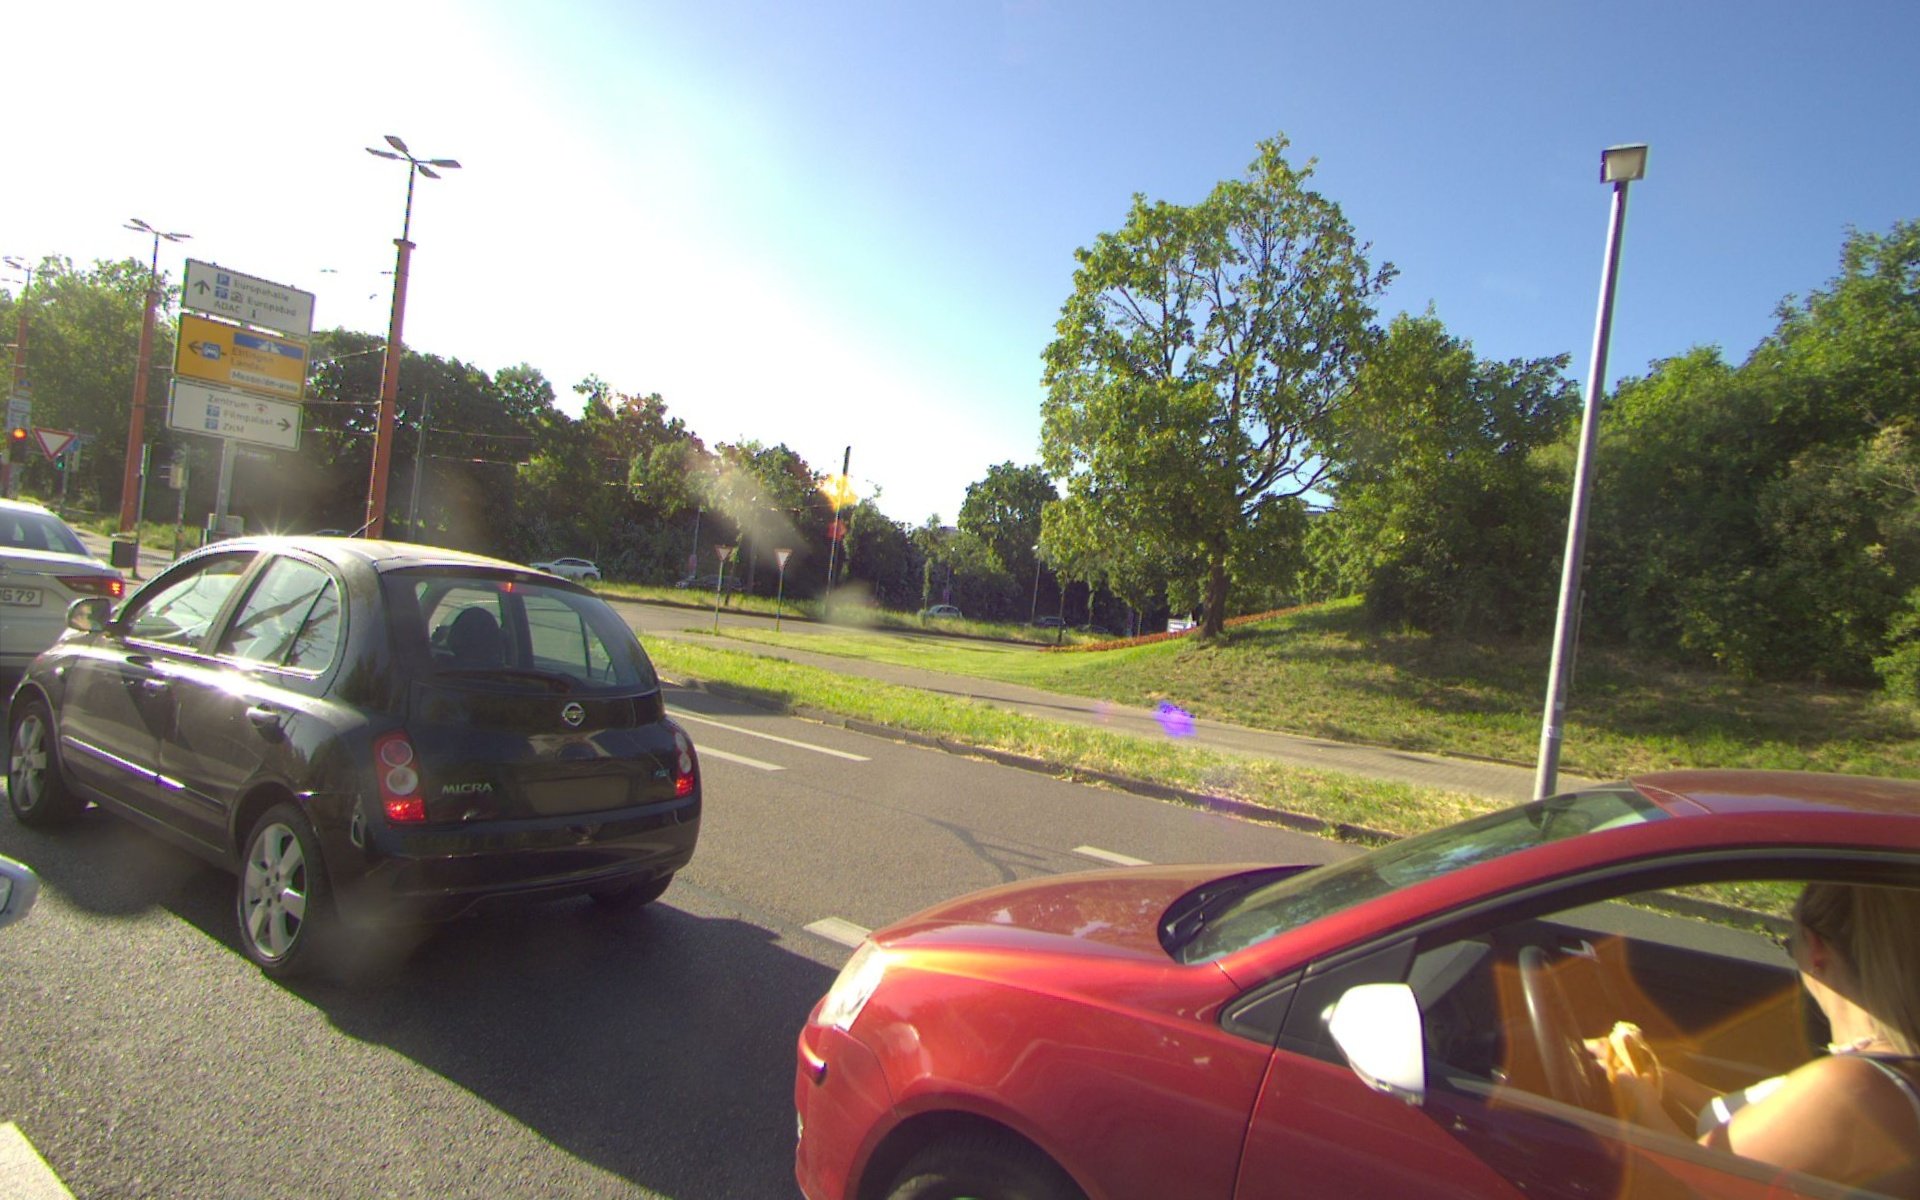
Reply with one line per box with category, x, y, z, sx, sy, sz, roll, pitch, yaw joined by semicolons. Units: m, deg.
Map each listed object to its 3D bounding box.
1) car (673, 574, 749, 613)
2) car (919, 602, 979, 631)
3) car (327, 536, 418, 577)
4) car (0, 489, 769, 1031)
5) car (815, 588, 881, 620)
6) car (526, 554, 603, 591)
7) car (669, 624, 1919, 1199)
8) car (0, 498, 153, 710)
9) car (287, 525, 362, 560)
car;-15.768;-0.430;63.820;4.169;1.906;1.750;8;-1;-35
car;-0.795;1.214;73.215;3.970;1.546;1.694;8;-1;-30
car;-31.924;-2.360;54.695;4.000;1.615;1.981;8;-1;-35
car;-2.863;0.462;4.718;3.555;1.518;1.657;7;-2;32
car;-8.094;0.265;72.612;4.257;1.725;1.833;8;-1;-29
car;-24.623;-1.692;62.664;4.195;1.701;1.690;8;-1;-29
car;1.406;1.021;1.860;3.700;1.455;1.644;6;-2;33
car;-8.365;-0.173;8.021;4.130;1.454;1.723;7;-1;33
car;-35.397;-3.187;56.104;3.414;1.384;1.280;9;-2;-32
